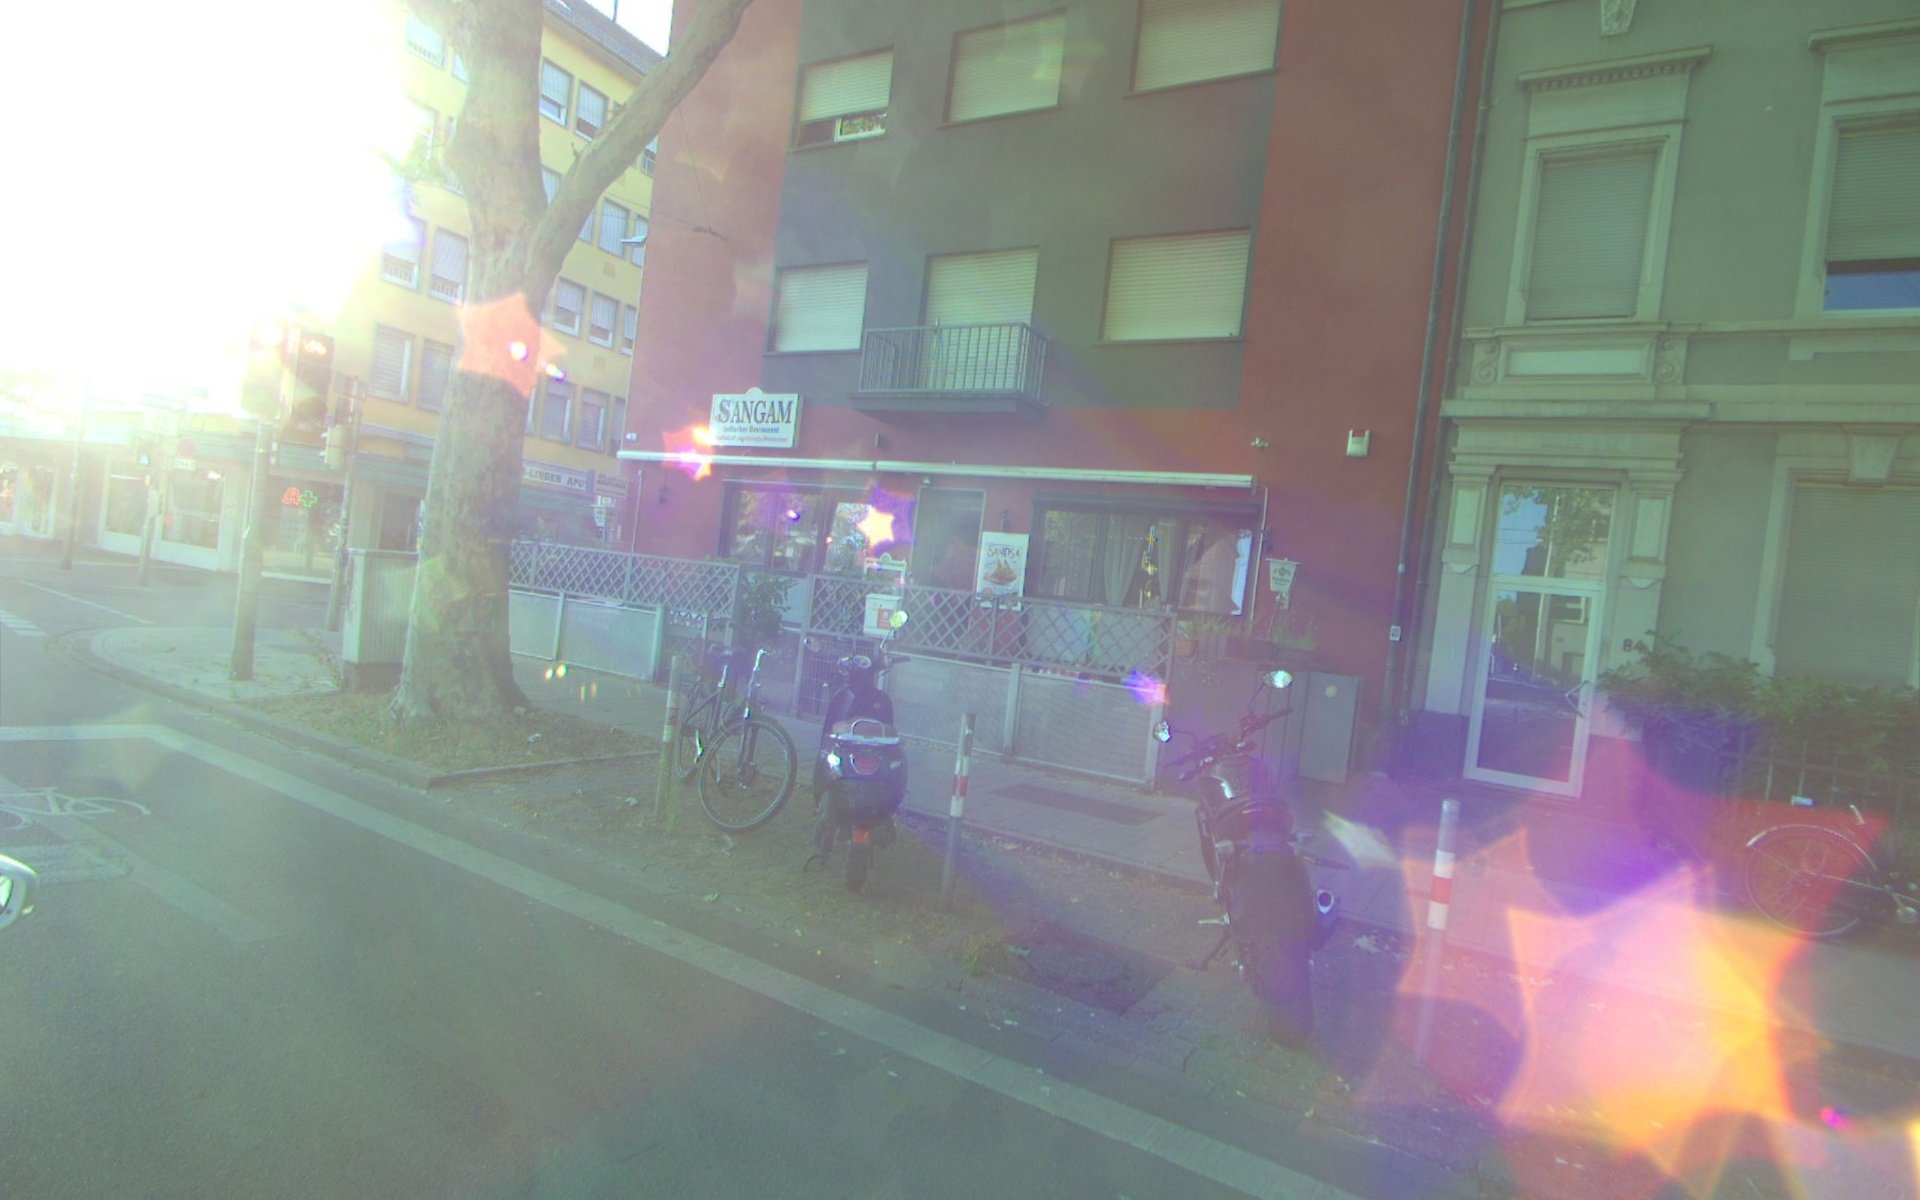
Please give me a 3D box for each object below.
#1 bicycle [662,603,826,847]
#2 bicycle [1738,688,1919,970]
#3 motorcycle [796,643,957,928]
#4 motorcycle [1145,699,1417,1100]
[{"bbox_3d":[-1.495,0.741,6.677,0.686,1.219,1.837,8,2,-20],"label":"bicycle"},{"bbox_3d":[5.862,1.373,5.503,2.356,1.443,0.608,6,-1,32],"label":"bicycle"},{"bbox_3d":[-0.545,0.914,5.651,0.591,1.166,1.994,6,0,-10],"label":"motorcycle"},{"bbox_3d":[1.314,1.151,4.616,0.752,1.077,2.212,7,2,9],"label":"motorcycle"}]
